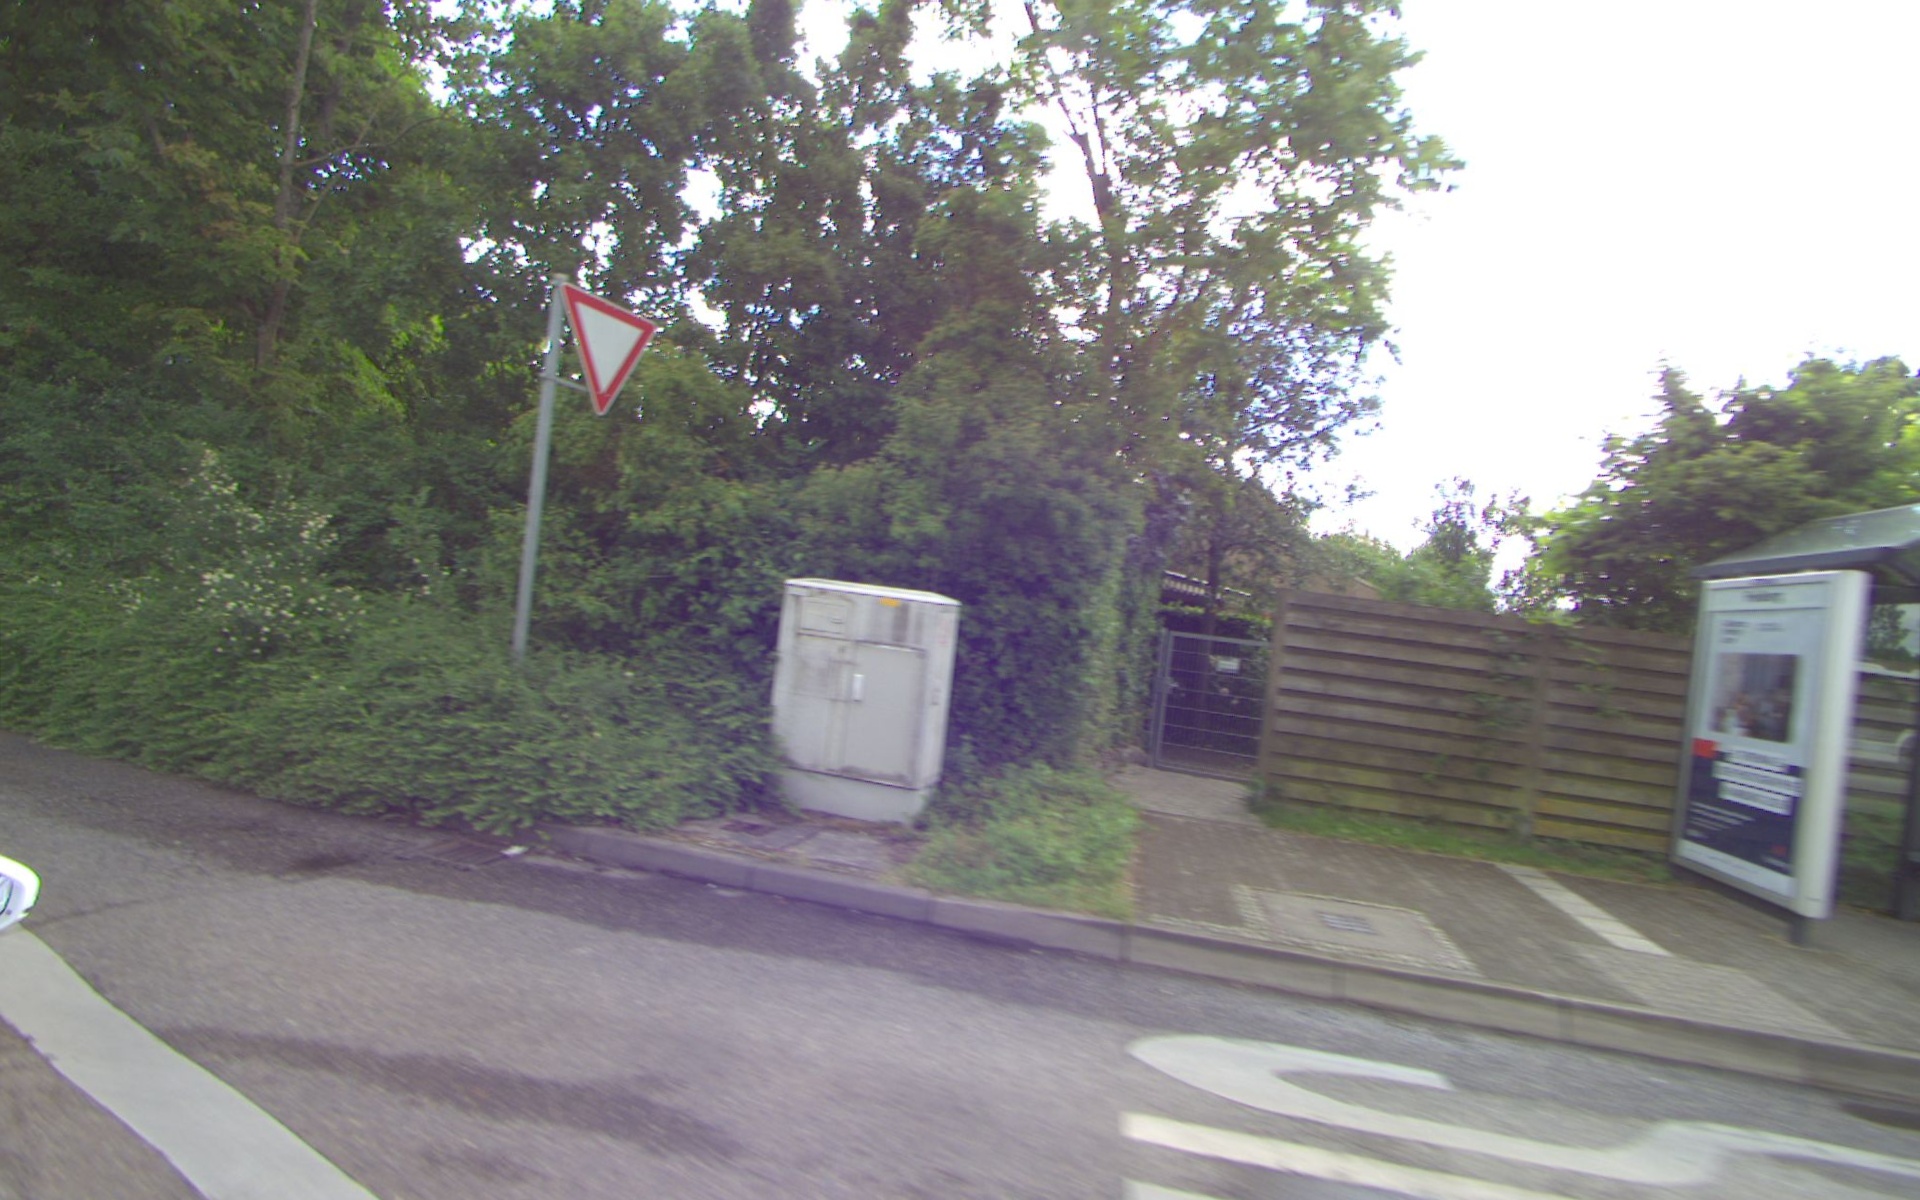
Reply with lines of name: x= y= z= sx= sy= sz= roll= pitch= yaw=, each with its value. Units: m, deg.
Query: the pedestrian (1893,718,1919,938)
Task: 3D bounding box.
pedestrian: x=6.391 y=1.307 z=6.037 sx=0.756 sy=1.670 sz=0.687 roll=7 pitch=1 yaw=10
